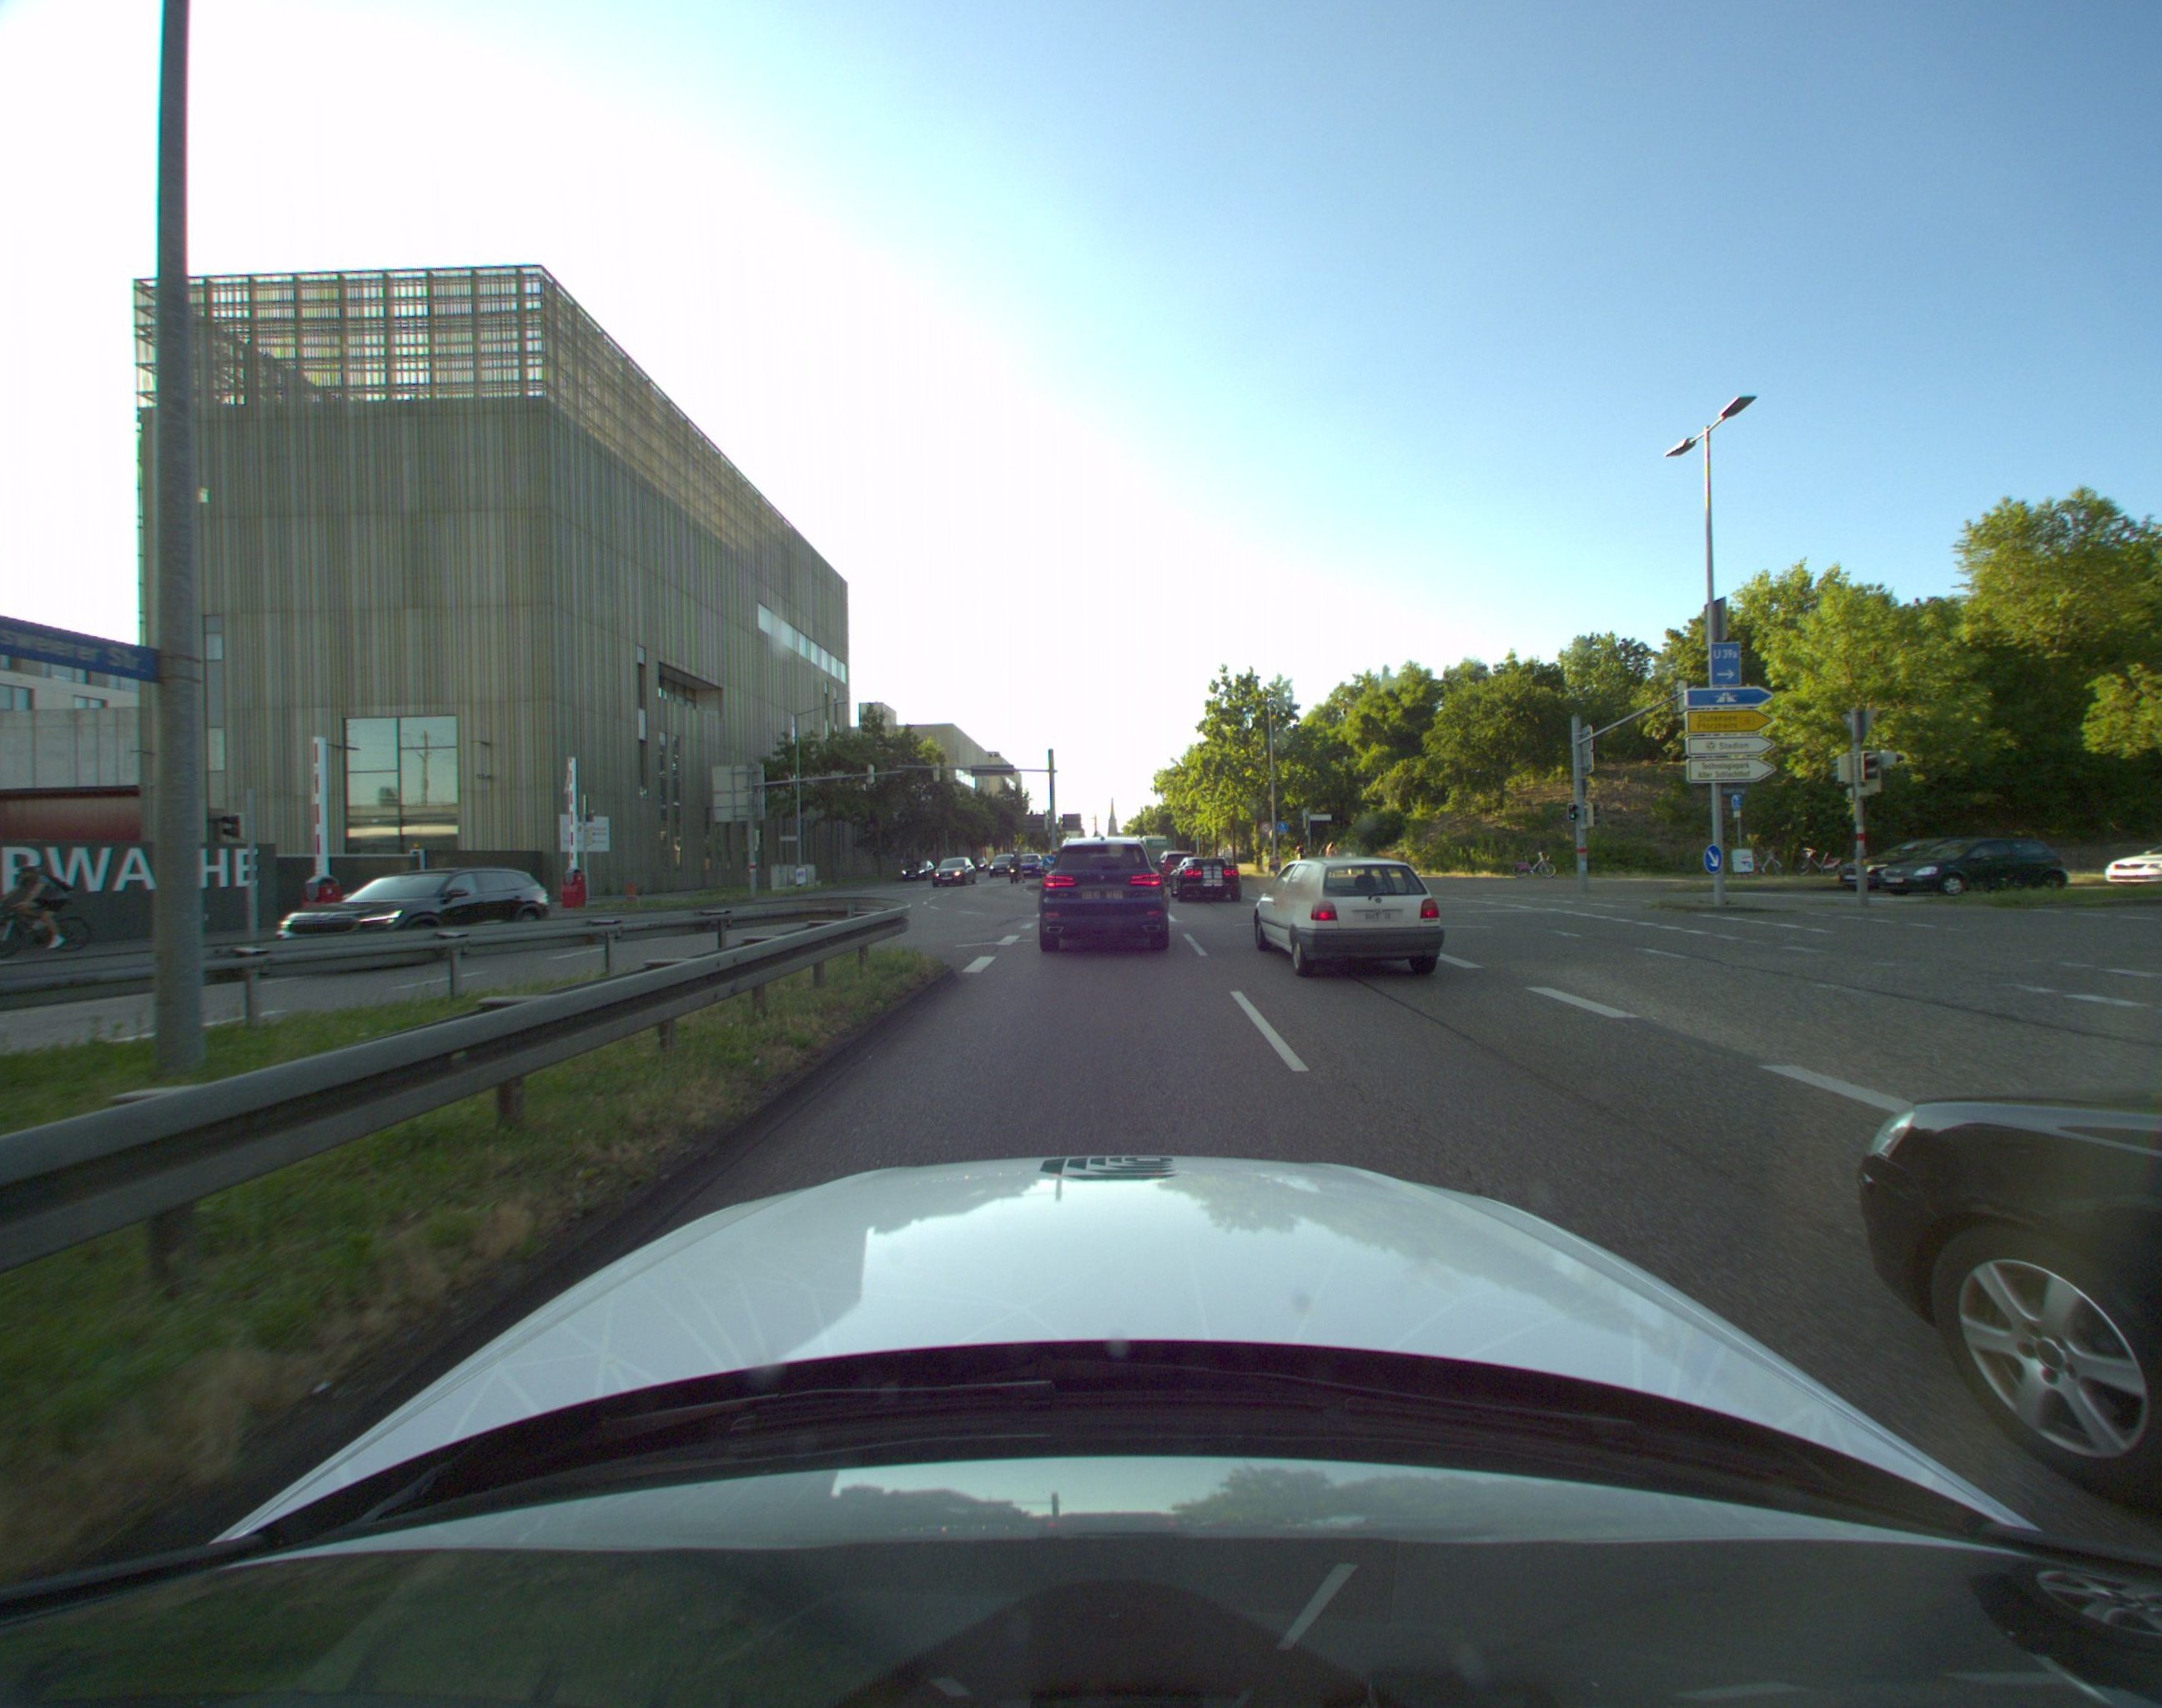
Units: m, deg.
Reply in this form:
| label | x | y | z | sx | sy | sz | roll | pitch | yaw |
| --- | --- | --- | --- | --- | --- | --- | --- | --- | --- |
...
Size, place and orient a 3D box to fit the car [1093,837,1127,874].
| label | x | y | z | sx | sy | sz | roll | pitch | yaw |
| --- | --- | --- | --- | --- | --- | --- | --- | --- | --- |
| car | 2.085 | 0.159 | 59.991 | 2.132 | 2.576 | 5.081 | 0 | -1 | -3 |

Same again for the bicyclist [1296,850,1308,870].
| label | x | y | z | sx | sy | sz | roll | pitch | yaw |
| --- | --- | --- | --- | --- | --- | --- | --- | --- | --- |
| bicyclist | 14.058 | 0.383 | 51.800 | 0.541 | 1.316 | 0.836 | 0 | -1 | 2 |

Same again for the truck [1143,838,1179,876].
| label | x | y | z | sx | sy | sz | roll | pitch | yaw |
| --- | --- | --- | --- | --- | --- | --- | --- | --- | --- |
| truck | 4.998 | 0.198 | 51.223 | 1.988 | 2.315 | 4.002 | 0 | -1 | 2 |

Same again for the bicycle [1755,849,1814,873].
| label | x | y | z | sx | sy | sz | roll | pitch | yaw |
| --- | --- | --- | --- | --- | --- | --- | --- | --- | --- |
| bicycle | 29.603 | 0.308 | 34.275 | 1.778 | 0.980 | 0.642 | 0 | -1 | 16 |

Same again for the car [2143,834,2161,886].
| label | x | y | z | sx | sy | sz | roll | pitch | yaw |
| --- | --- | --- | --- | --- | --- | --- | --- | --- | --- |
| car | 31.297 | 0.153 | 21.166 | 4.303 | 1.407 | 2.045 | 0 | -1 | 8 |

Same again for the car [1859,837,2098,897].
| label | x | y | z | sx | sy | sz | roll | pitch | yaw |
| --- | --- | --- | --- | --- | --- | --- | --- | --- | --- |
| car | 24.001 | 0.344 | 21.952 | 3.964 | 1.530 | 2.004 | 0 | -1 | 8 |

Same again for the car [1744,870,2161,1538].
| label | x | y | z | sx | sy | sz | roll | pitch | yaw |
| --- | --- | --- | --- | --- | --- | --- | --- | --- | --- |
| car | 3.055 | 0.731 | 1.002 | 1.610 | 1.410 | 3.685 | 0 | -1 | 3 |

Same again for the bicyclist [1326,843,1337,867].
| label | x | y | z | sx | sy | sz | roll | pitch | yaw |
| --- | --- | --- | --- | --- | --- | --- | --- | --- | --- |
| bicyclist | 13.094 | 0.052 | 42.520 | 0.426 | 1.233 | 0.460 | -2 | -1 | 2 |

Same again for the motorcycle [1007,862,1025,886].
| label | x | y | z | sx | sy | sz | roll | pitch | yaw |
| --- | --- | --- | --- | --- | --- | --- | --- | --- | --- |
| motorcycle | -3.299 | 1.005 | 41.525 | 0.838 | 1.076 | 2.397 | -3 | 0 | -5 |

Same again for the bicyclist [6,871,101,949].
| label | x | y | z | sx | sy | sz | roll | pitch | yaw |
| --- | --- | --- | --- | --- | --- | --- | --- | --- | --- |
| bicyclist | -21.367 | 1.142 | 16.956 | 0.720 | 1.563 | 0.941 | 0 | -1 | 6 |

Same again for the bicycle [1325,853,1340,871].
| label | x | y | z | sx | sy | sz | roll | pitch | yaw |
| --- | --- | --- | --- | --- | --- | --- | --- | --- | --- |
| bicycle | 13.090 | 0.430 | 42.428 | 0.436 | 0.914 | 1.027 | -3 | -1 | 2 |

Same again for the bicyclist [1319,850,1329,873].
| label | x | y | z | sx | sy | sz | roll | pitch | yaw |
| --- | --- | --- | --- | --- | --- | --- | --- | --- | --- |
| bicyclist | 13.843 | 0.428 | 46.376 | 0.426 | 1.309 | 0.460 | 0 | -1 | 2 |

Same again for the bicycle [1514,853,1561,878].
| label | x | y | z | sx | sy | sz | roll | pitch | yaw |
| --- | --- | --- | --- | --- | --- | --- | --- | --- | --- |
| bicycle | 19.732 | 0.499 | 35.218 | 1.649 | 0.991 | 0.581 | -2 | 2 | 18 |

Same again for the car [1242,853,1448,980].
| label | x | y | z | sx | sy | sz | roll | pitch | yaw |
| --- | --- | --- | --- | --- | --- | --- | --- | --- | --- |
| car | 3.342 | 0.731 | 11.104 | 1.573 | 1.413 | 4.063 | 0 | -1 | 1 |

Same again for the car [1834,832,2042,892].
| label | x | y | z | sx | sy | sz | roll | pitch | yaw |
| --- | --- | --- | --- | --- | --- | --- | --- | --- | --- |
| car | 25.402 | 0.253 | 24.285 | 3.964 | 1.694 | 1.867 | 0 | -1 | 8 |

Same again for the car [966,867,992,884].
| label | x | y | z | sx | sy | sz | roll | pitch | yaw |
| --- | --- | --- | --- | --- | --- | --- | --- | --- | --- |
| car | -10.611 | 2.197 | 85.071 | 1.987 | 1.592 | 4.715 | -5 | -1 | 1 |

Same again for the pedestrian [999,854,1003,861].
| label | x | y | z | sx | sy | sz | roll | pitch | yaw |
| --- | --- | --- | --- | --- | --- | --- | --- | --- | --- |
| pedestrian | -17.145 | 0.812 | 174.484 | 0.624 | 1.522 | 0.719 | 0 | -1 | 5 |

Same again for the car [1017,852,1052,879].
| label | x | y | z | sx | sy | sz | roll | pitch | yaw |
| --- | --- | --- | --- | --- | --- | --- | --- | --- | --- |
| car | -2.810 | 0.694 | 49.932 | 1.696 | 1.452 | 3.857 | -5 | -1 | 1 |

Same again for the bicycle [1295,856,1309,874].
| label | x | y | z | sx | sy | sz | roll | pitch | yaw |
| --- | --- | --- | --- | --- | --- | --- | --- | --- | --- |
| bicycle | 14.053 | 0.706 | 51.810 | 0.562 | 1.112 | 1.622 | 0 | -1 | 2 |

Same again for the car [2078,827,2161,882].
| label | x | y | z | sx | sy | sz | roll | pitch | yaw |
| --- | --- | --- | --- | --- | --- | --- | --- | --- | --- |
| car | 33.152 | 0.036 | 24.146 | 4.303 | 1.568 | 2.045 | 0 | -1 | 8 |

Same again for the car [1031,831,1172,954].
| label | x | y | z | sx | sy | sz | roll | pitch | yaw |
| --- | --- | --- | --- | --- | --- | --- | --- | --- | --- |
| car | 0.385 | 0.582 | 13.741 | 1.986 | 1.734 | 4.535 | 0 | -1 | 2 |

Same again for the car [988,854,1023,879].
| label | x | y | z | sx | sy | sz | roll | pitch | yaw |
| --- | --- | --- | --- | --- | --- | --- | --- | --- | --- |
| car | -5.500 | 0.928 | 59.930 | 1.987 | 1.592 | 4.715 | -5 | -1 | 1 |

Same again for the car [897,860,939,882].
| label | x | y | z | sx | sy | sz | roll | pitch | yaw |
| --- | --- | --- | --- | --- | --- | --- | --- | --- | --- |
| car | -11.936 | 1.250 | 59.880 | 1.987 | 1.400 | 4.349 | -5 | -1 | 1 |

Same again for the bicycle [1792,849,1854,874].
| label | x | y | z | sx | sy | sz | roll | pitch | yaw |
| --- | --- | --- | --- | --- | --- | --- | --- | --- | --- |
| bicycle | 30.041 | 0.294 | 32.987 | 1.778 | 0.980 | 0.642 | 0 | 0 | 16 |

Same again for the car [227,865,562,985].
| label | x | y | z | sx | sy | sz | roll | pitch | yaw |
| --- | --- | --- | --- | --- | --- | --- | --- | --- | --- |
| car | -12.081 | 1.136 | 14.899 | 1.987 | 1.696 | 4.681 | -5 | -1 | 1 |

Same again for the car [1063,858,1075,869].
| label | x | y | z | sx | sy | sz | roll | pitch | yaw |
| --- | --- | --- | --- | --- | --- | --- | --- | --- | --- |
| car | -2.182 | 1.805 | 148.875 | 1.750 | 1.777 | 4.494 | -5 | -1 | 1 |

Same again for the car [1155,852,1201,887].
| label | x | y | z | sx | sy | sz | roll | pitch | yaw |
| --- | --- | --- | --- | --- | --- | --- | --- | --- | --- |
| car | 4.450 | 0.709 | 37.871 | 1.789 | 1.559 | 4.002 | 0 | -1 | 2 |

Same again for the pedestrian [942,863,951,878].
| label | x | y | z | sx | sy | sz | roll | pitch | yaw |
| --- | --- | --- | --- | --- | --- | --- | --- | --- | --- |
| pedestrian | -18.380 | 2.252 | 111.640 | 1.014 | 2.014 | 0.962 | 0 | -1 | 2 |

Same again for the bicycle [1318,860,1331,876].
| label | x | y | z | sx | sy | sz | roll | pitch | yaw |
| --- | --- | --- | --- | --- | --- | --- | --- | --- | --- |
| bicycle | 13.850 | 0.805 | 46.331 | 0.435 | 0.914 | 1.027 | 0 | -1 | 2 |

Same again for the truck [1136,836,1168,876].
| label | x | y | z | sx | sy | sz | roll | pitch | yaw |
| --- | --- | --- | --- | --- | --- | --- | --- | --- | --- |
| truck | 4.831 | 0.160 | 55.958 | 1.988 | 2.669 | 4.002 | 0 | -1 | 2 |

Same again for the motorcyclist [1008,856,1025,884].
| label | x | y | z | sx | sy | sz | roll | pitch | yaw |
| --- | --- | --- | --- | --- | --- | --- | --- | --- | --- |
| motorcyclist | -3.313 | 0.789 | 41.605 | 0.796 | 1.349 | 1.272 | -3 | 1 | -5 |

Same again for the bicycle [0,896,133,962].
| label | x | y | z | sx | sy | sz | roll | pitch | yaw |
| --- | --- | --- | --- | --- | --- | --- | --- | --- | --- |
| bicycle | -21.376 | 1.515 | 16.962 | 0.701 | 1.156 | 2.084 | 0 | 1 | 6 |

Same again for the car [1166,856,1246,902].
| label | x | y | z | sx | sy | sz | roll | pitch | yaw |
| --- | --- | --- | --- | --- | --- | --- | --- | --- | --- |
| car | 3.761 | 0.755 | 25.132 | 1.986 | 1.295 | 4.002 | 0 | -1 | 2 |

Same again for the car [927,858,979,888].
| label | x | y | z | sx | sy | sz | roll | pitch | yaw |
| --- | --- | --- | --- | --- | --- | --- | --- | --- | --- |
| car | -6.720 | 0.980 | 43.071 | 1.986 | 1.475 | 4.081 | 1 | -1 | 1 |
